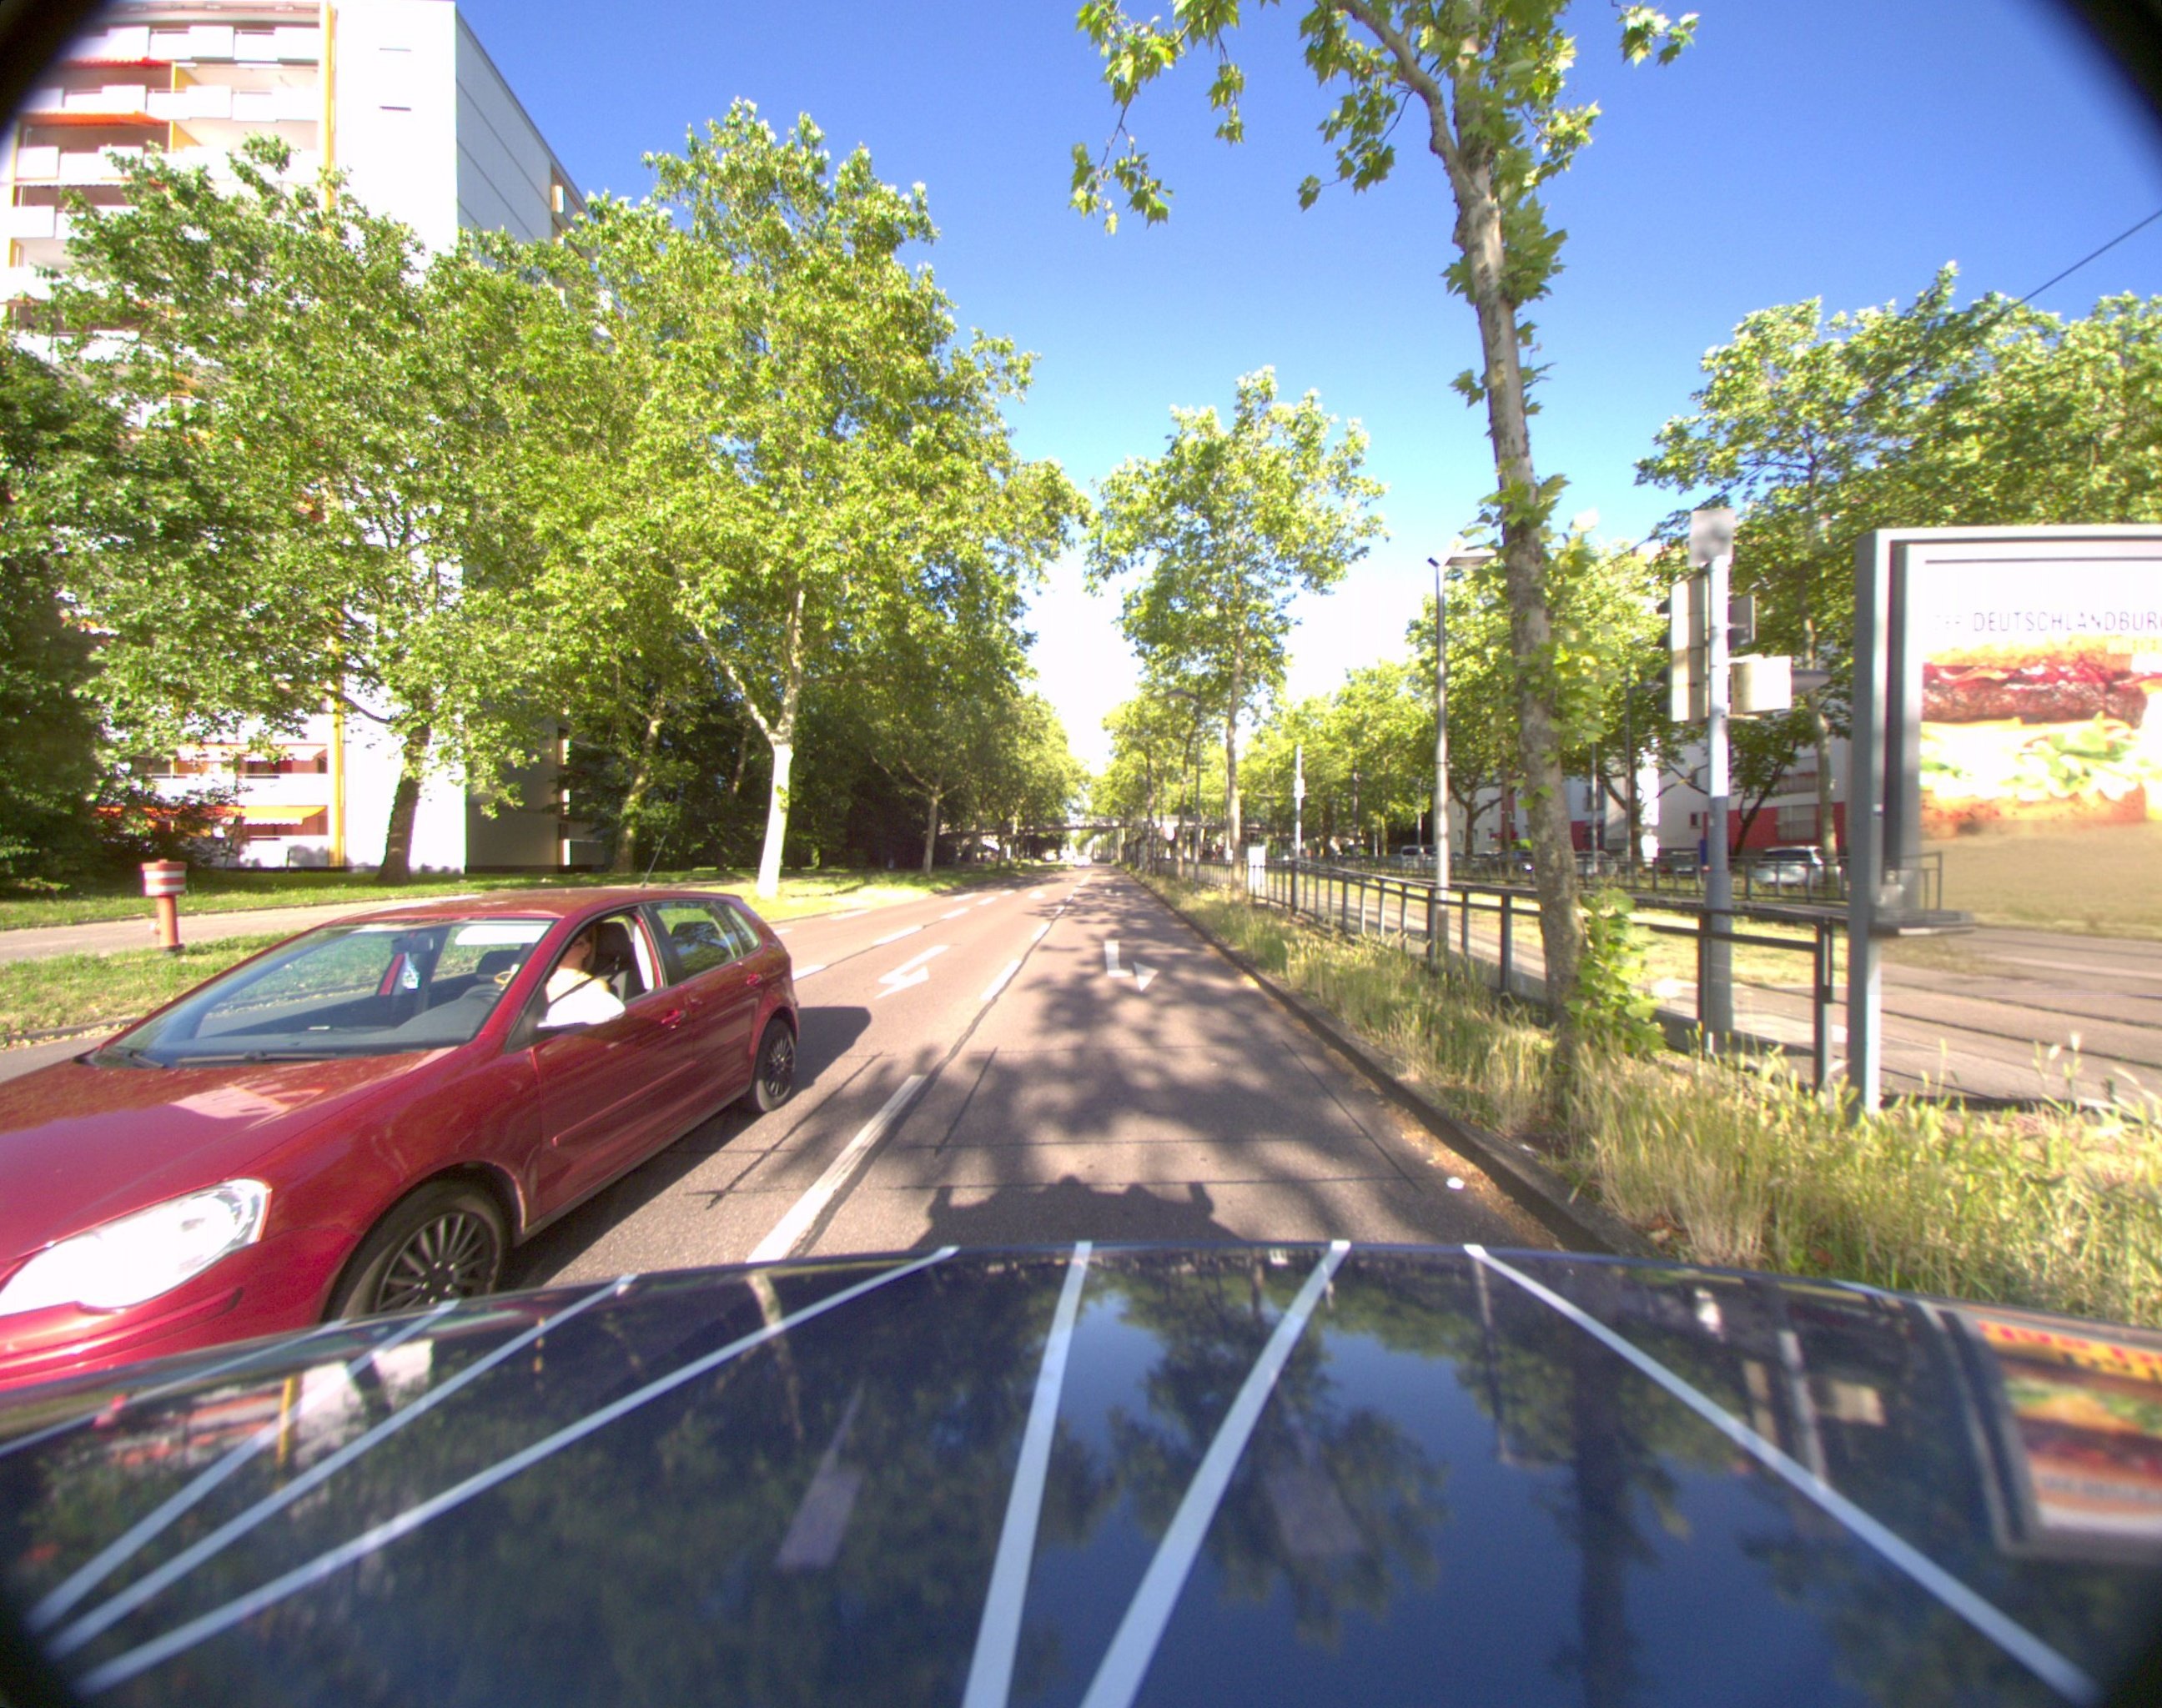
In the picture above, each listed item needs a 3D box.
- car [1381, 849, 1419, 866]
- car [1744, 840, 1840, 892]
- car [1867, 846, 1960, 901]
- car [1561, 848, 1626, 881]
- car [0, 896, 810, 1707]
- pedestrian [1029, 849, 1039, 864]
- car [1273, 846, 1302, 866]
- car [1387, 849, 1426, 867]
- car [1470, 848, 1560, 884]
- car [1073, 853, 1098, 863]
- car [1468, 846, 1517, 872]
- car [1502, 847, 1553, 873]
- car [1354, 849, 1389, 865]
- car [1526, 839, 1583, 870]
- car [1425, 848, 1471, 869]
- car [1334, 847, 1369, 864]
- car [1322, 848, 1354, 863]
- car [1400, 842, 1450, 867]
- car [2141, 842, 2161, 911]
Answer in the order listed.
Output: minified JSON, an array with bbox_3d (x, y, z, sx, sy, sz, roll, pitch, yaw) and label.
[{"bbox_3d":[26.880,0.277,63.983,3.494,1.293,1.476,-1,1,-41],"label":"car"},{"bbox_3d":[25.224,0.403,26.928,4.007,1.586,1.810,-3,1,-37],"label":"car"},{"bbox_3d":[25.239,0.541,22.999,3.770,1.420,1.555,-3,1,-37],"label":"car"},{"bbox_3d":[25.520,0.518,37.767,3.890,1.406,1.486,-3,1,-37],"label":"car"},{"bbox_3d":[-2.803,1.046,3.322,1.645,1.430,3.761,-2,1,3],"label":"car"},{"bbox_3d":[-6.570,0.372,106.130,0.964,2.002,0.917,-4,1,-41],"label":"pedestrian"},{"bbox_3d":[20.878,0.214,76.961,1.795,1.980,4.653,-1,0,3],"label":"car"},{"bbox_3d":[25.857,0.281,60.318,3.494,1.336,1.476,-1,1,-41],"label":"car"},{"bbox_3d":[19.641,0.509,34.592,1.769,1.503,4.102,-1,0,1],"label":"car"},{"bbox_3d":[0.792,0.665,125.948,1.794,1.465,4.007,-2,1,43],"label":"car"},{"bbox_3d":[25.815,0.296,47.585,3.493,1.417,1.558,-3,-1,-42],"label":"car"},{"bbox_3d":[26.117,0.336,44.431,3.493,1.321,1.476,-3,0,-41],"label":"car"},{"bbox_3d":[26.667,0.265,69.691,3.494,1.312,1.476,-1,1,-41],"label":"car"},{"bbox_3d":[25.731,0.006,41.271,3.402,1.499,1.461,-3,1,-37],"label":"car"},{"bbox_3d":[25.949,0.316,53.692,3.494,1.395,1.623,-1,1,-41],"label":"car"},{"bbox_3d":[26.178,0.100,73.447,3.835,1.561,1.597,-1,1,-43],"label":"car"},{"bbox_3d":[26.972,0.129,79.771,3.742,1.517,1.597,-1,1,-43],"label":"car"},{"bbox_3d":[25.788,0.049,56.923,4.056,1.802,1.864,-1,1,-40],"label":"car"},{"bbox_3d":[24.608,0.532,16.257,4.007,1.479,1.689,-3,1,-44],"label":"car"}]
